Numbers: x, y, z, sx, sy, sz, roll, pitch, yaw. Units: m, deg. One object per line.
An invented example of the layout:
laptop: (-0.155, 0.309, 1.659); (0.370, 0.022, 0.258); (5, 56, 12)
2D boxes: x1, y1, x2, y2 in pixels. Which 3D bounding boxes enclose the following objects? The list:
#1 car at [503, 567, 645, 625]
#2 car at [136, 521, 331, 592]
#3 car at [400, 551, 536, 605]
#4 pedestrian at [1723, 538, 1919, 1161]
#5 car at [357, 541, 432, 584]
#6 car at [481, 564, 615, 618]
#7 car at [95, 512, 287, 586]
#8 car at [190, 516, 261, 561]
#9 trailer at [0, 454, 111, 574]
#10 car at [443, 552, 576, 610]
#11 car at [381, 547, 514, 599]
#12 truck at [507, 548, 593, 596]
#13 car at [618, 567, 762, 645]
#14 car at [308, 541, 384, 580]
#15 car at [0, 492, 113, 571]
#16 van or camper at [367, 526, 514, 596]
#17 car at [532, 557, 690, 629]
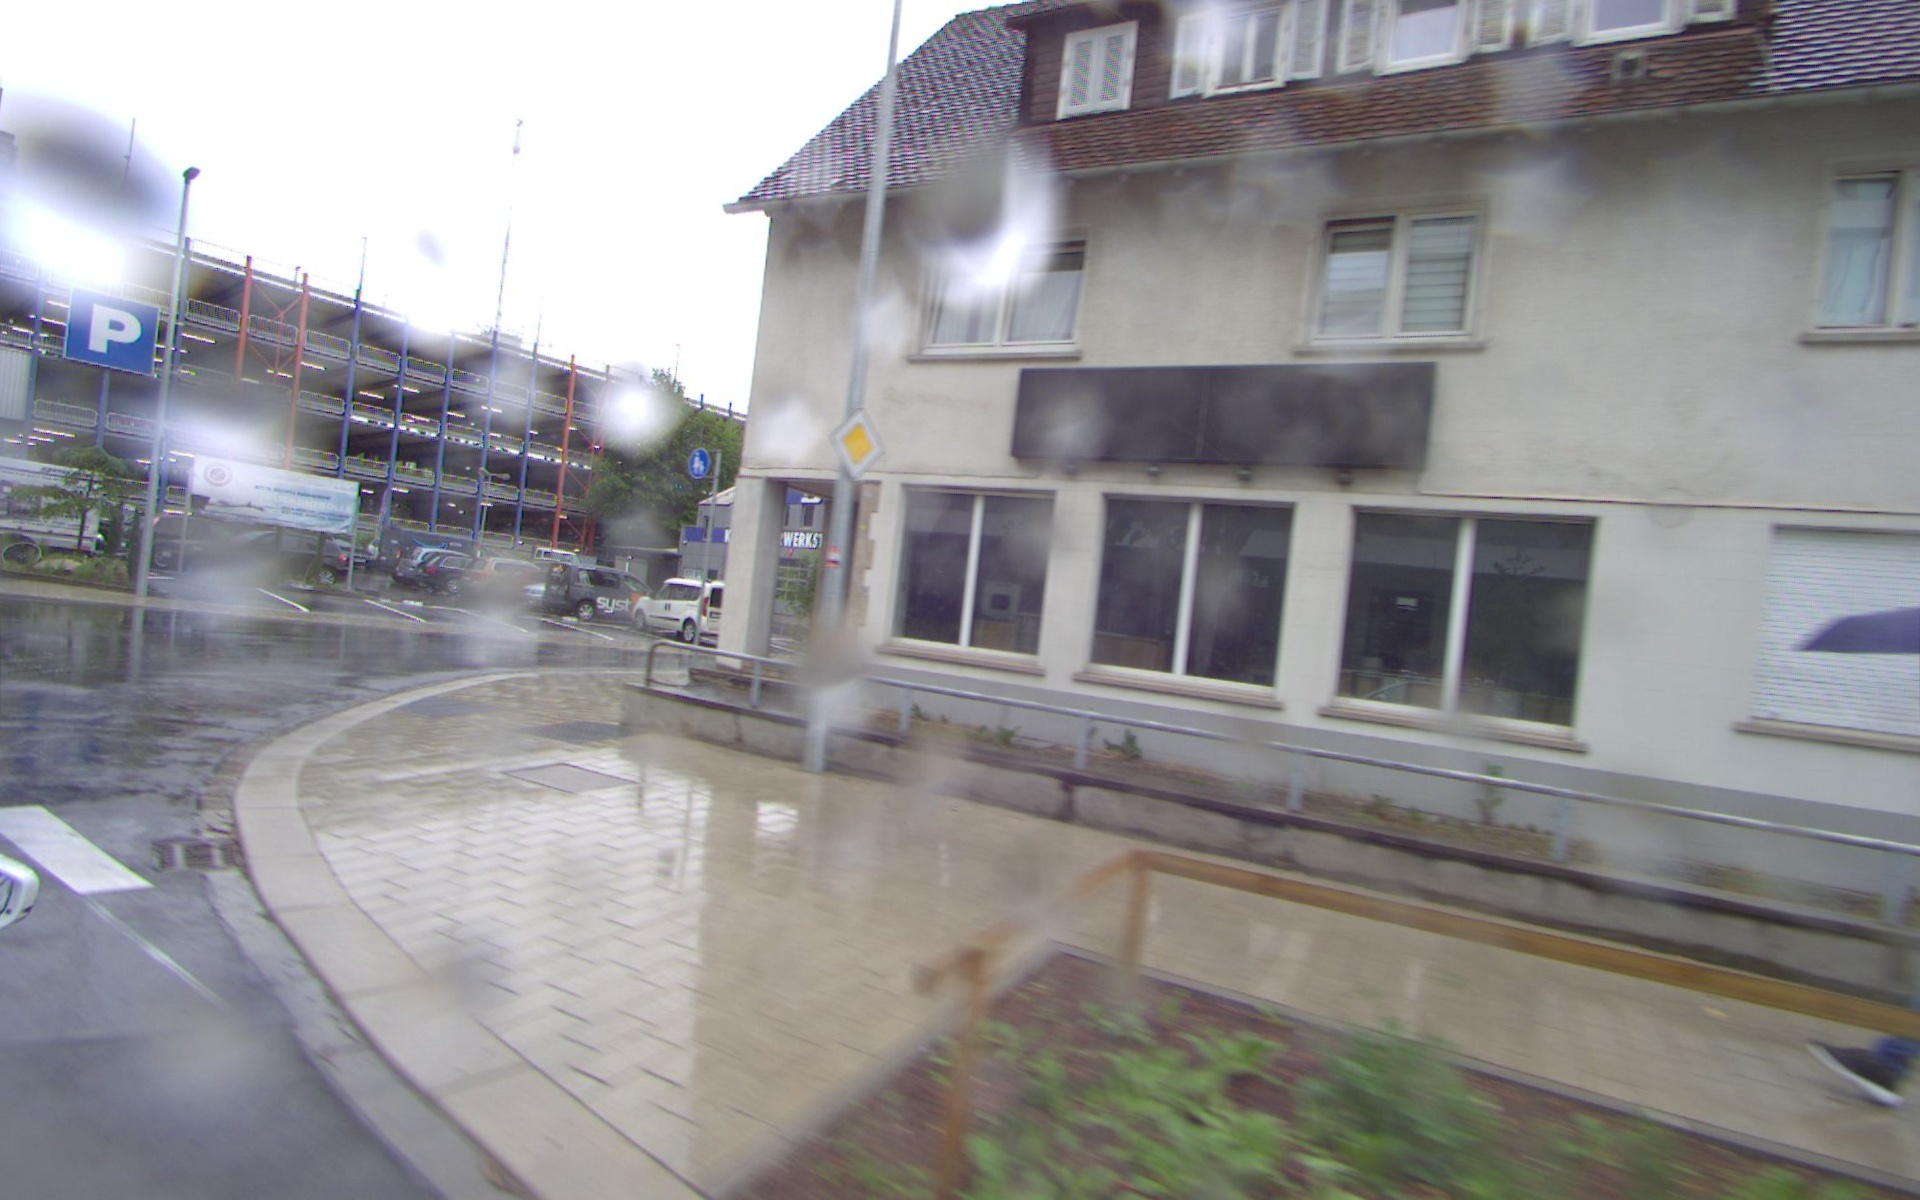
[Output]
car: (-13.335, -0.104, 34.893); (1.840, 1.515, 4.118); (7, 0, 43)
car: (-19.012, -1.091, 26.507); (1.663, 1.331, 3.736); (7, -1, 25)
car: (-19.196, -0.840, 39.426); (1.837, 1.603, 4.353); (7, 0, 37)
pedestrian: (3.660, 0.878, 3.570); (1.174, 2.040, 0.860); (7, 2, 27)
car: (-29.277, -1.949, 52.028); (3.944, 1.832, 1.893); (3, -6, 40)
car: (-15.068, -0.312, 36.950); (1.837, 1.515, 4.125); (7, 0, 37)
car: (-20.971, -1.357, 27.598); (1.700, 1.466, 3.736); (7, -1, 25)
car: (-33.926, -2.856, 46.417); (3.944, 1.700, 1.727); (7, 0, 41)
trailer: (-19.670, -1.843, 20.809); (1.522, 2.197, 2.707); (7, -1, 31)
car: (-16.985, -0.702, 38.057); (1.837, 1.688, 4.125); (7, 0, 37)
car: (-20.762, -1.070, 40.908); (1.837, 1.603, 4.353); (7, 0, 37)
truck: (-23.600, -1.651, 57.771); (5.231, 2.292, 1.996); (3, -6, 39)
car: (-8.340, 0.160, 30.879); (4.423, 1.851, 1.886); (6, 0, 38)
car: (-30.538, -1.970, 50.038); (3.944, 1.501, 1.894); (3, -6, 40)
car: (-21.642, -1.641, 22.500); (1.622, 1.547, 3.732); (5, -1, 28)
van or camper: (-22.058, -1.605, 42.916); (2.188, 2.355, 4.954); (7, 0, 36)
car: (-11.464, -0.188, 33.229); (1.869, 1.851, 4.464); (7, 0, 44)
